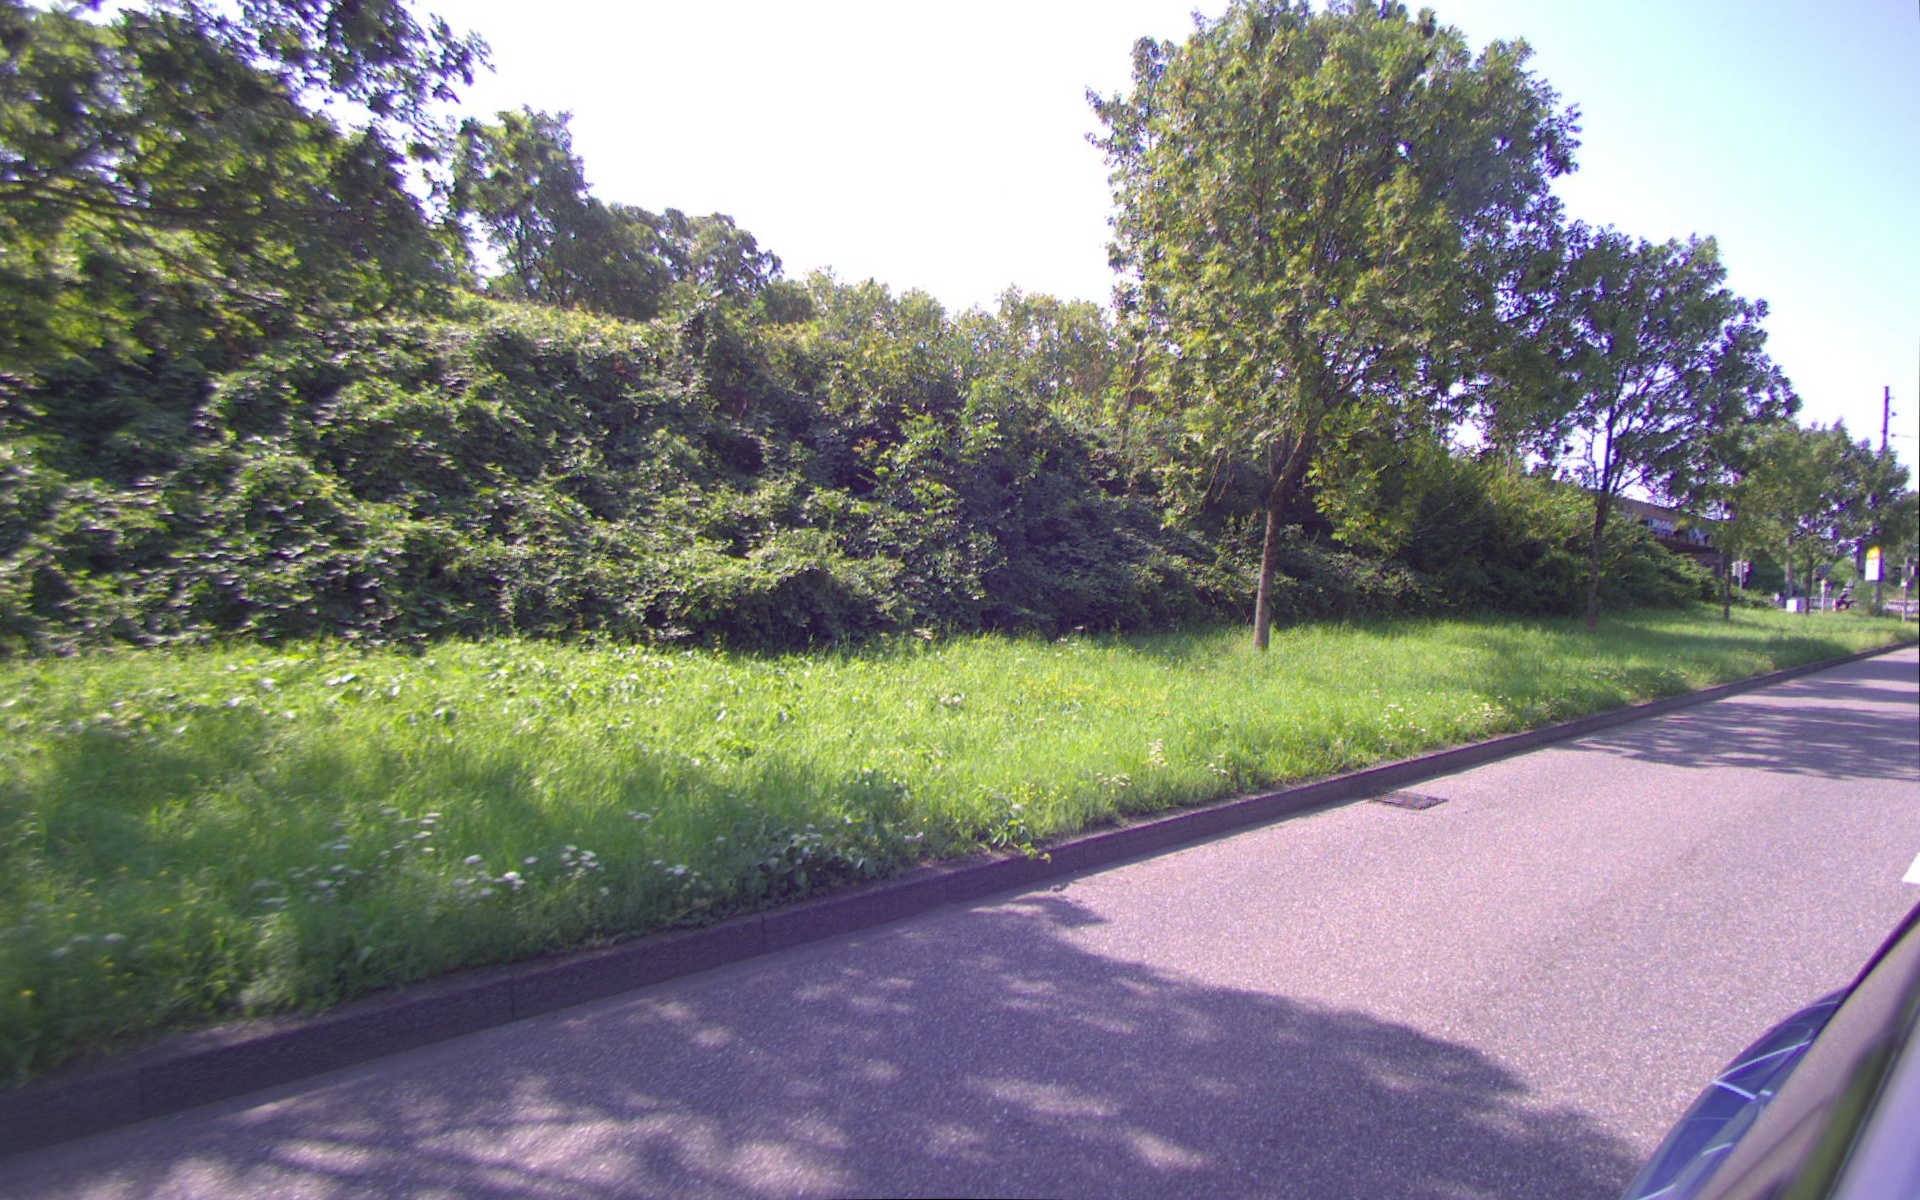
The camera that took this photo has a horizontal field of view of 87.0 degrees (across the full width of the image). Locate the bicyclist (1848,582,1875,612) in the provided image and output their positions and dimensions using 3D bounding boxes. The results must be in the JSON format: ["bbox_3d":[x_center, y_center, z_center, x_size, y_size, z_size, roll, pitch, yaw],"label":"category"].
[{"bbox_3d":[52.249,-0.190,58.662,0.959,1.679,0.707,2,1,23],"label":"bicyclist"}]
